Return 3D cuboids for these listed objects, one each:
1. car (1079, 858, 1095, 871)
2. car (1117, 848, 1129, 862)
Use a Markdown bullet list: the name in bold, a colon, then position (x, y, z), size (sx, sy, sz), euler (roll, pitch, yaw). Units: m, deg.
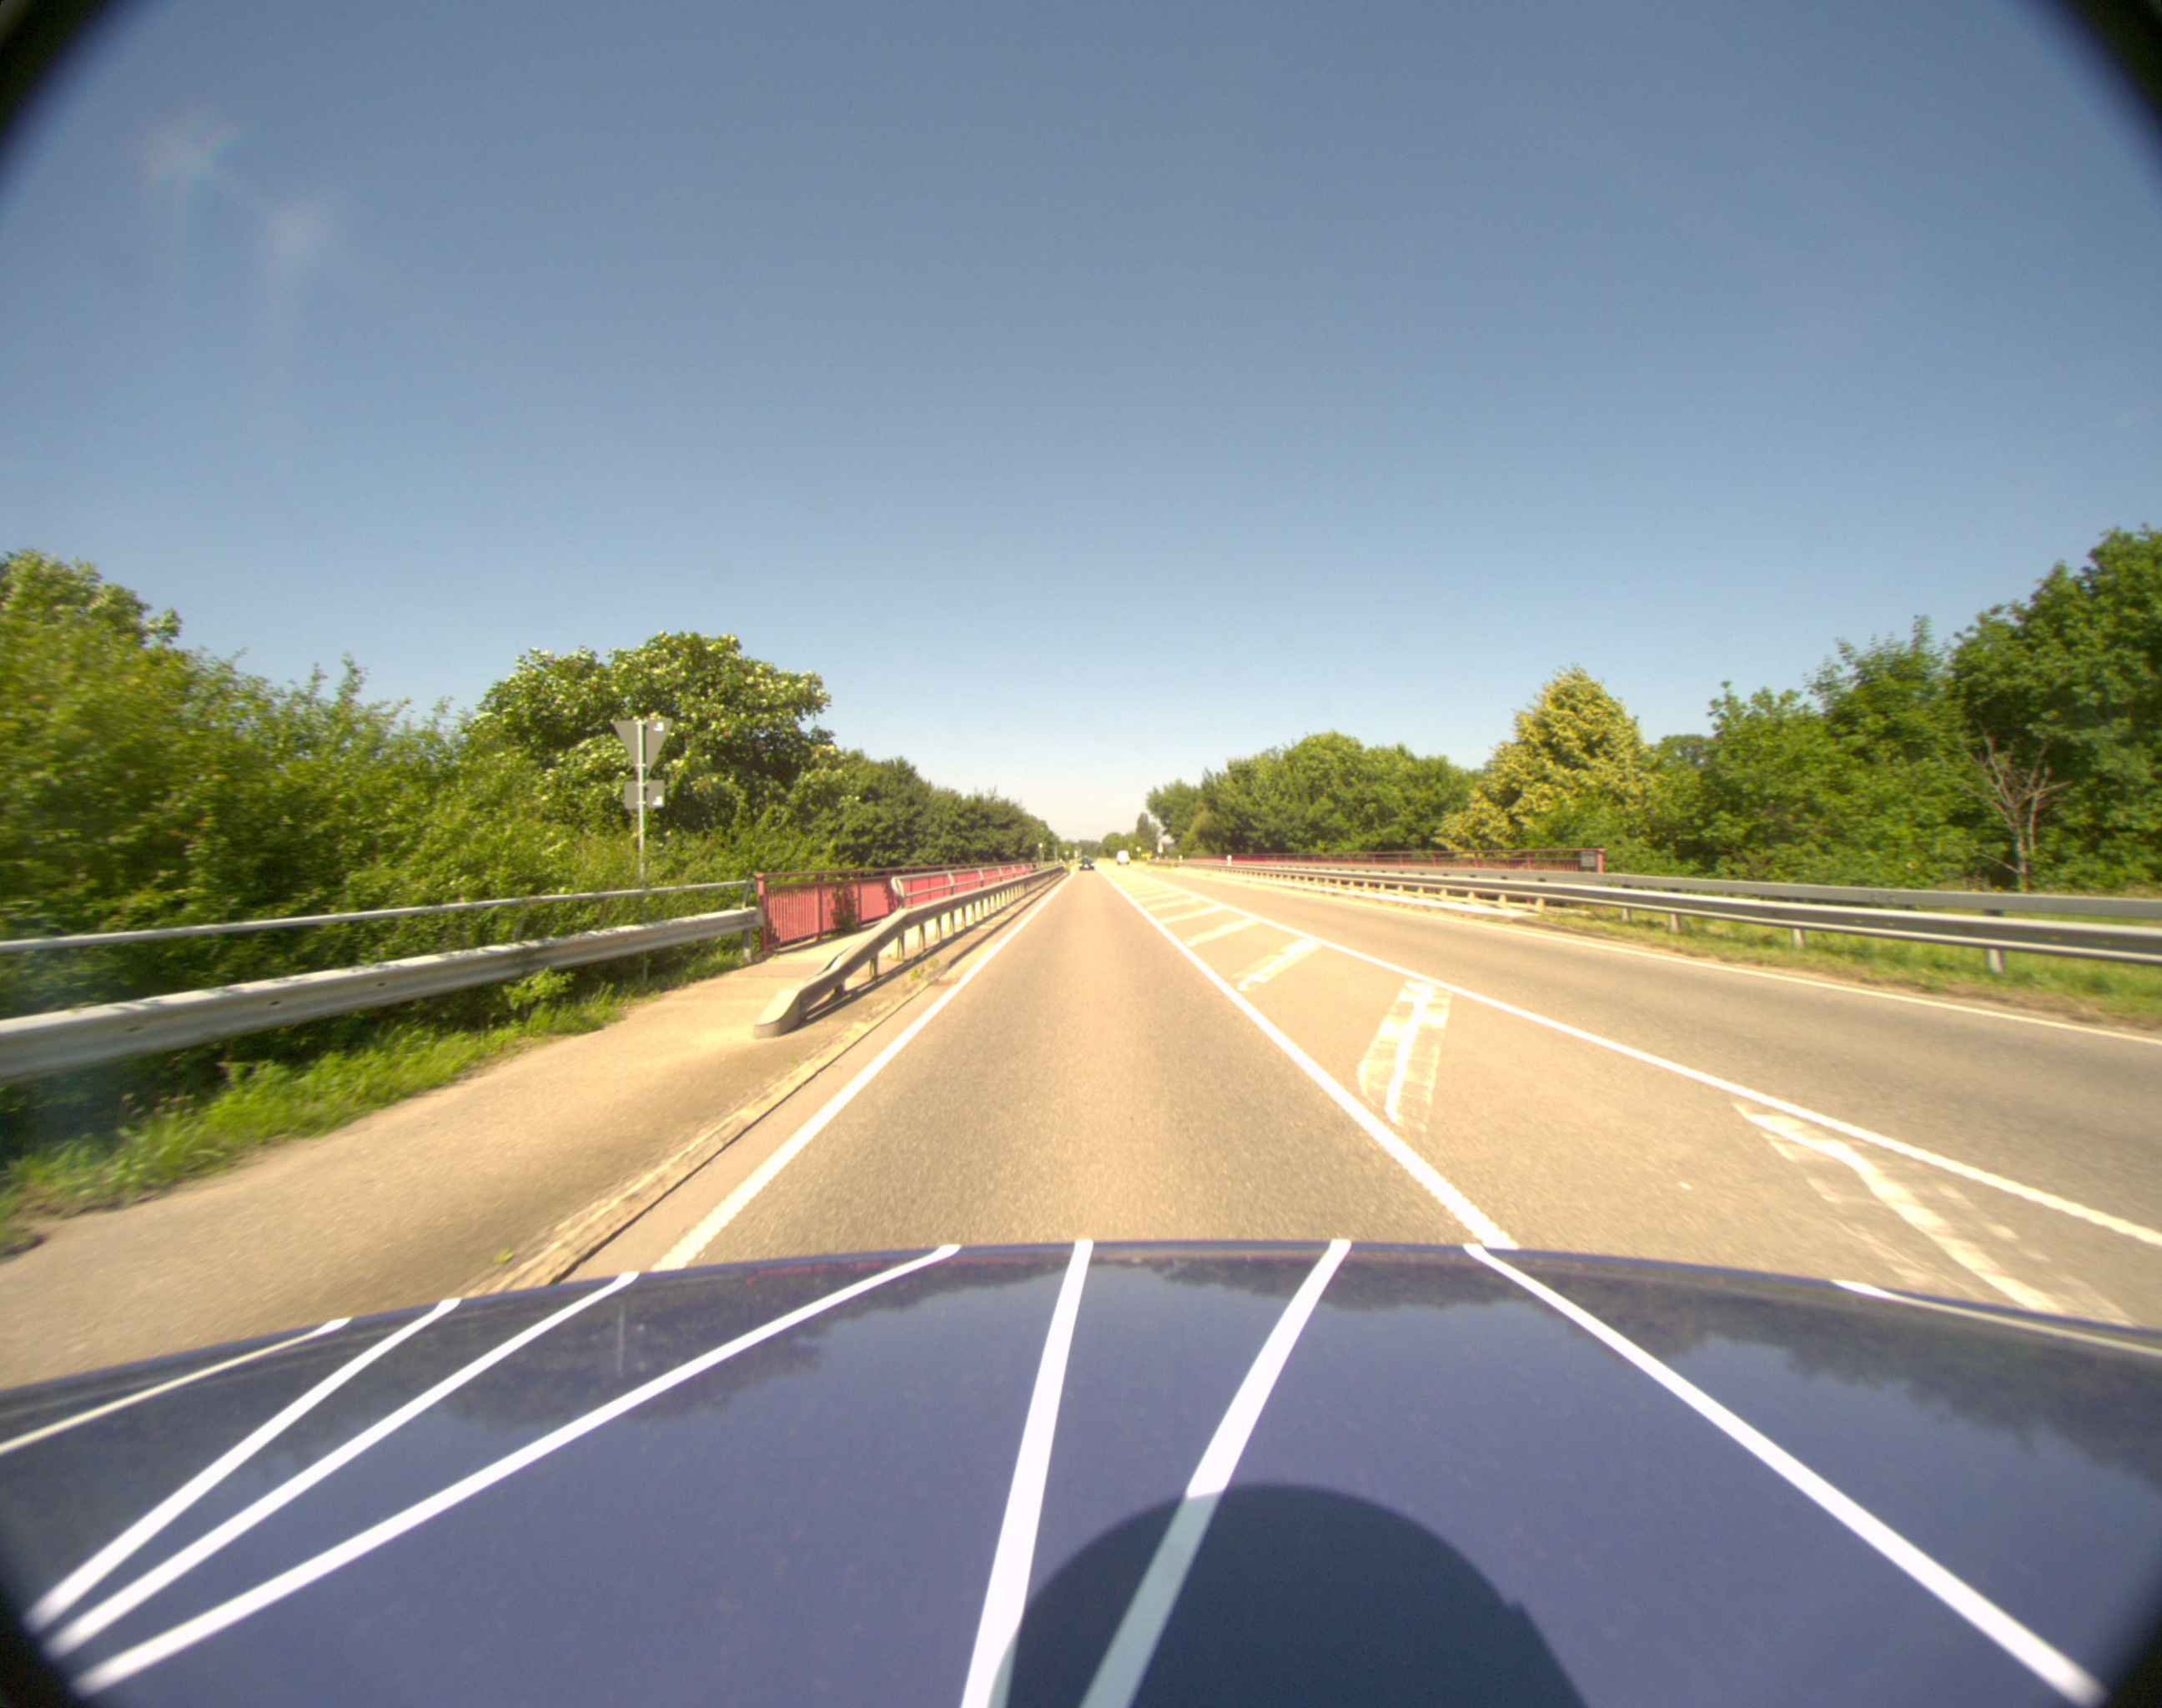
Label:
- **car**: position (0.739, 1.196, 88.921), size (1.806, 1.390, 4.180), euler (-2, 0, 1)
- **car**: position (7.260, 0.151, 131.838), size (1.895, 2.214, 7.232), euler (-2, 0, 2)
